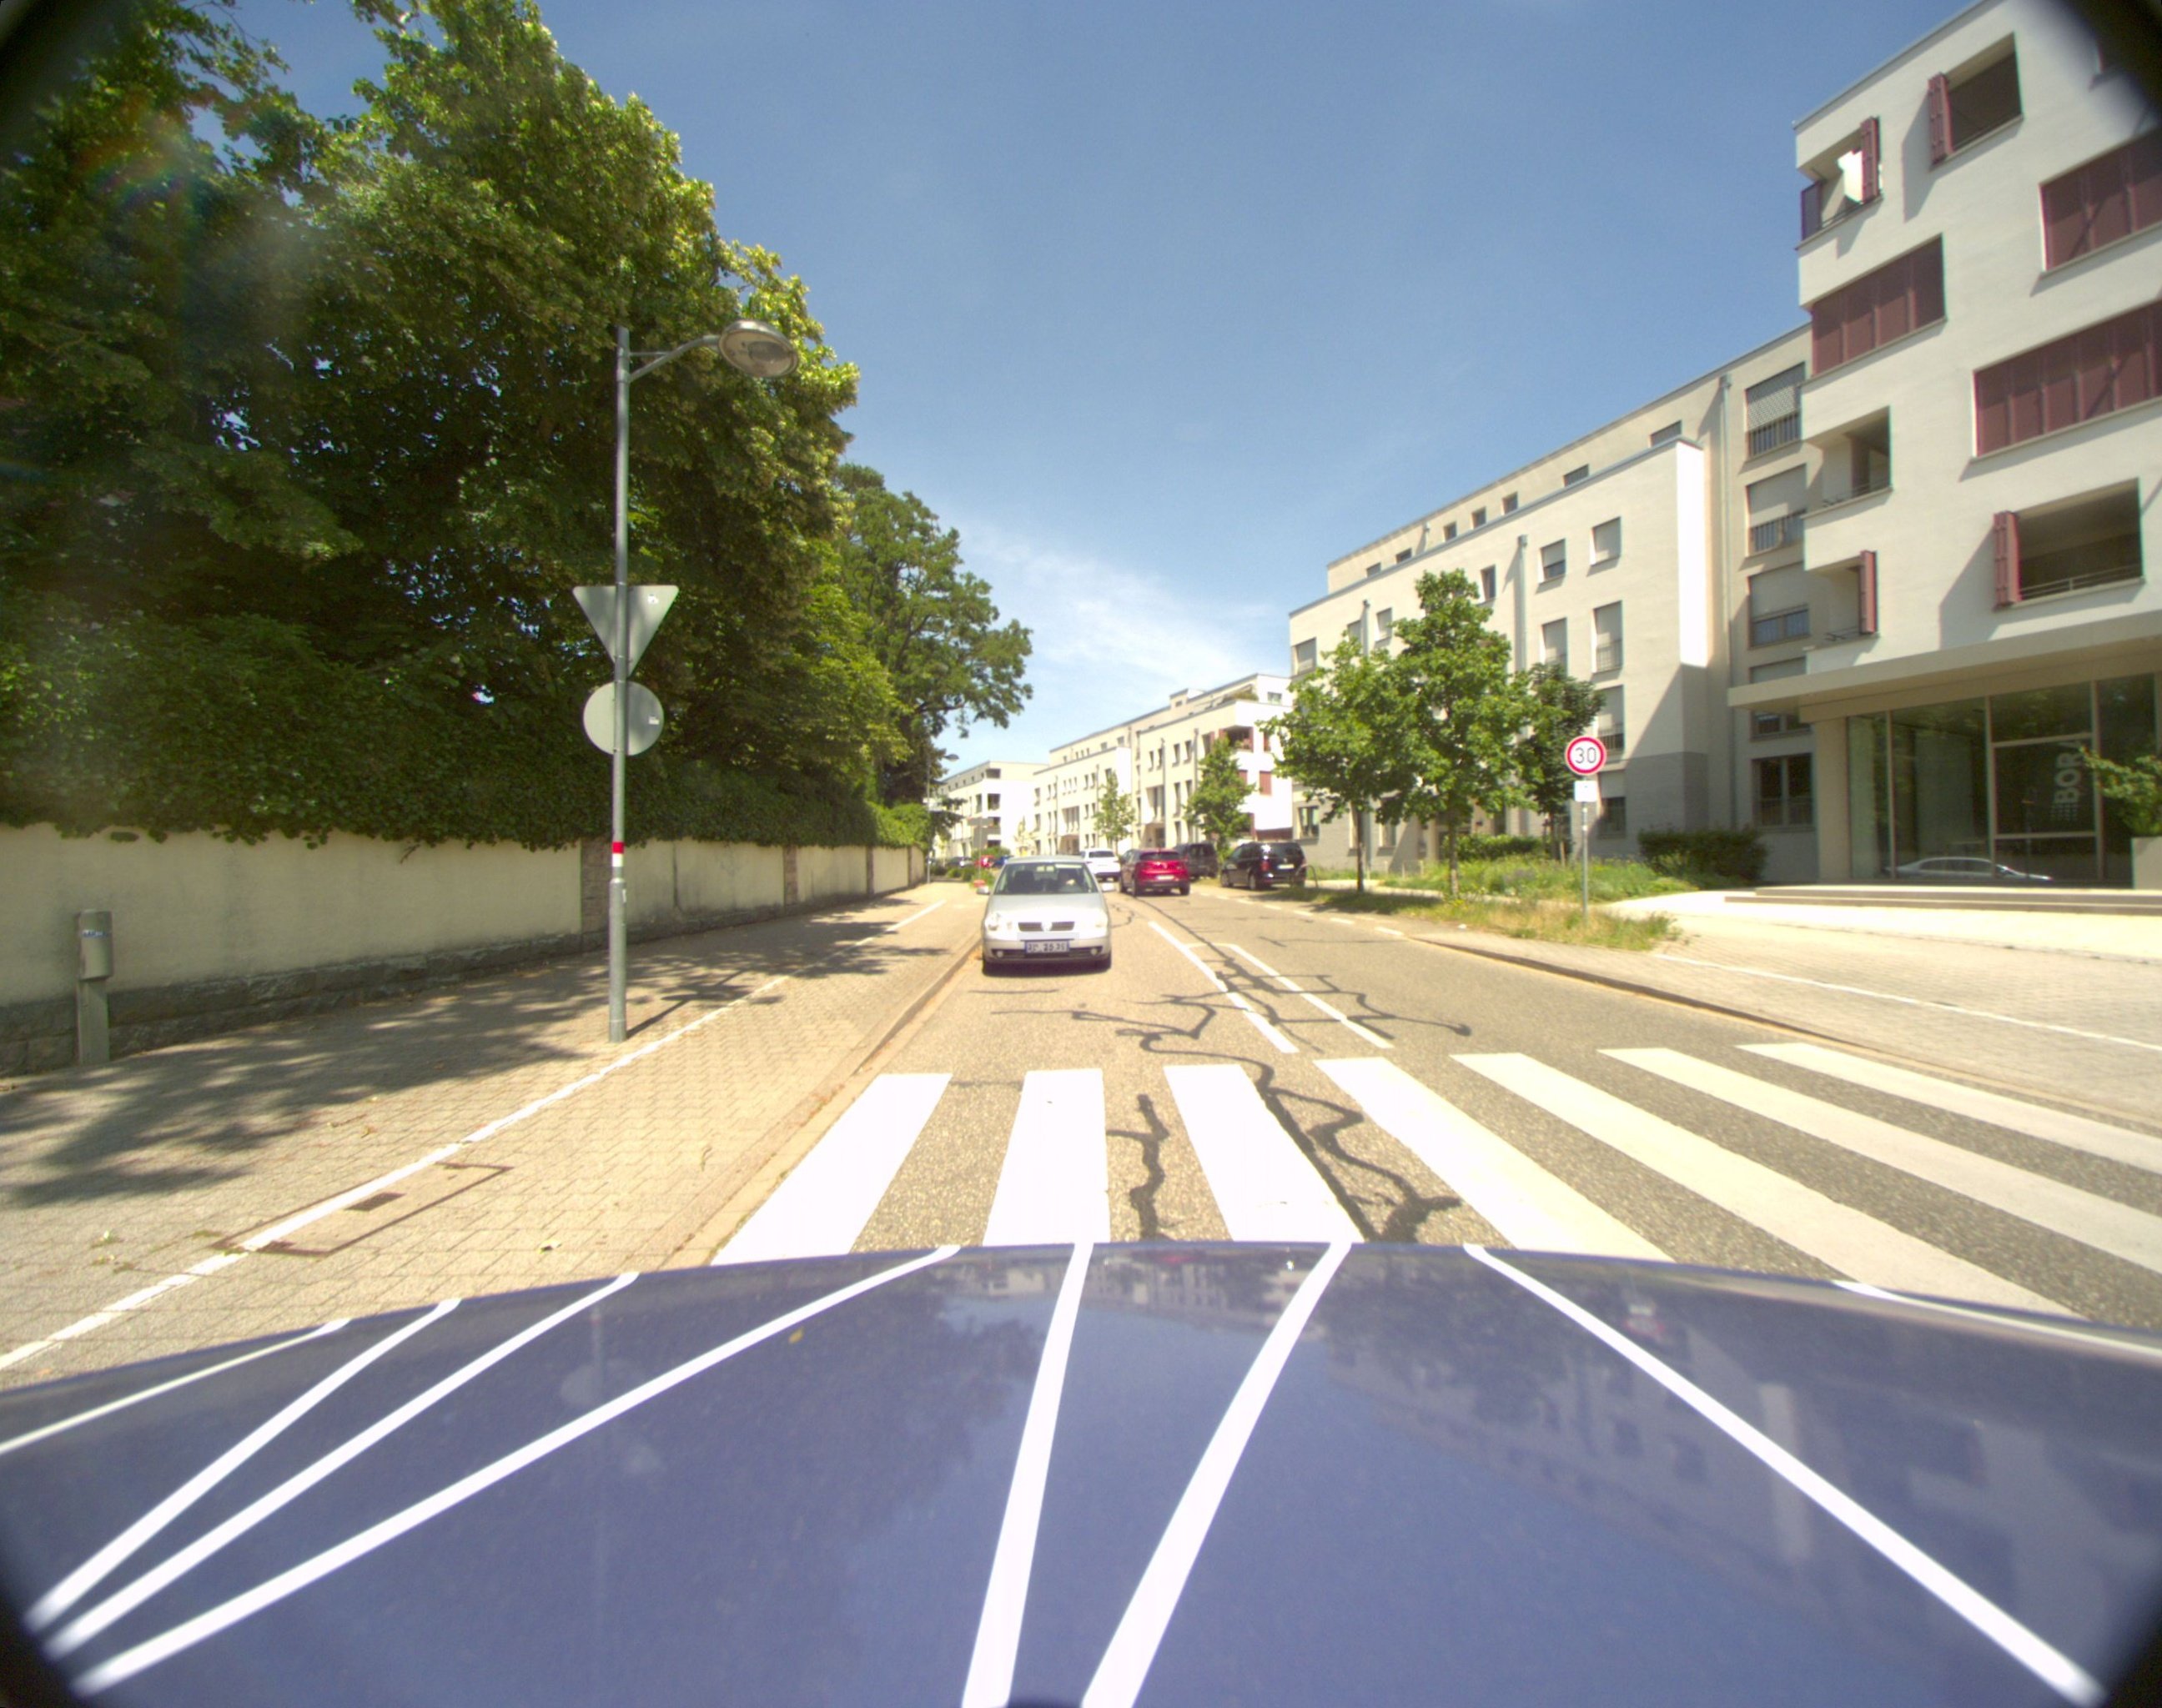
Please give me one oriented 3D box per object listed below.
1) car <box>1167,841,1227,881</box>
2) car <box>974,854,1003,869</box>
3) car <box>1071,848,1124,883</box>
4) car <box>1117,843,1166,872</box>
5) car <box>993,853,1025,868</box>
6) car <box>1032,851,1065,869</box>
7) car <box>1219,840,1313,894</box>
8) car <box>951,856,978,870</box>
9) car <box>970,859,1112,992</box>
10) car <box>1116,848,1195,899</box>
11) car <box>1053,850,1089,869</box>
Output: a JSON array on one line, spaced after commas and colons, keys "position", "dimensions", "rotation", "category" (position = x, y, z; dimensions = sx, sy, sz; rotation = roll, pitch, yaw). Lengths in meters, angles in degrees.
[{"position": [5.205, 0.290, 34.521], "dimensions": [1.700, 1.690, 3.624], "rotation": [-2, 1, -8], "category": "car"}, {"position": [-9.578, 0.762, 78.396], "dimensions": [1.710, 1.405, 3.712], "rotation": [-2, 1, -30], "category": "car"}, {"position": [0.743, 0.518, 37.317], "dimensions": [1.817, 1.599, 4.116], "rotation": [-2, 1, -10], "category": "car"}, {"position": [3.480, 0.196, 44.199], "dimensions": [1.792, 1.580, 3.623], "rotation": [-2, 1, -13], "category": "car"}, {"position": [-6.992, 0.641, 73.357], "dimensions": [1.710, 1.405, 3.712], "rotation": [-2, 1, -30], "category": "car"}, {"position": [-2.791, 0.471, 64.518], "dimensions": [1.709, 1.405, 3.715], "rotation": [-2, 1, -20], "category": "car"}, {"position": [6.213, 0.391, 25.949], "dimensions": [1.700, 1.628, 4.017], "rotation": [-2, 1, -8], "category": "car"}, {"position": [-12.859, 0.980, 83.906], "dimensions": [1.710, 1.405, 3.712], "rotation": [-2, 1, -30], "category": "car"}, {"position": [-0.453, 0.843, 10.817], "dimensions": [1.607, 1.443, 3.999], "rotation": [-1, 1, 0], "category": "car"}, {"position": [2.367, 0.597, 25.058], "dimensions": [1.756, 1.496, 3.990], "rotation": [-2, 0, -7], "category": "car"}, {"position": [-0.773, 0.415, 58.418], "dimensions": [1.708, 1.405, 3.715], "rotation": [-2, 1, -18], "category": "car"}]
